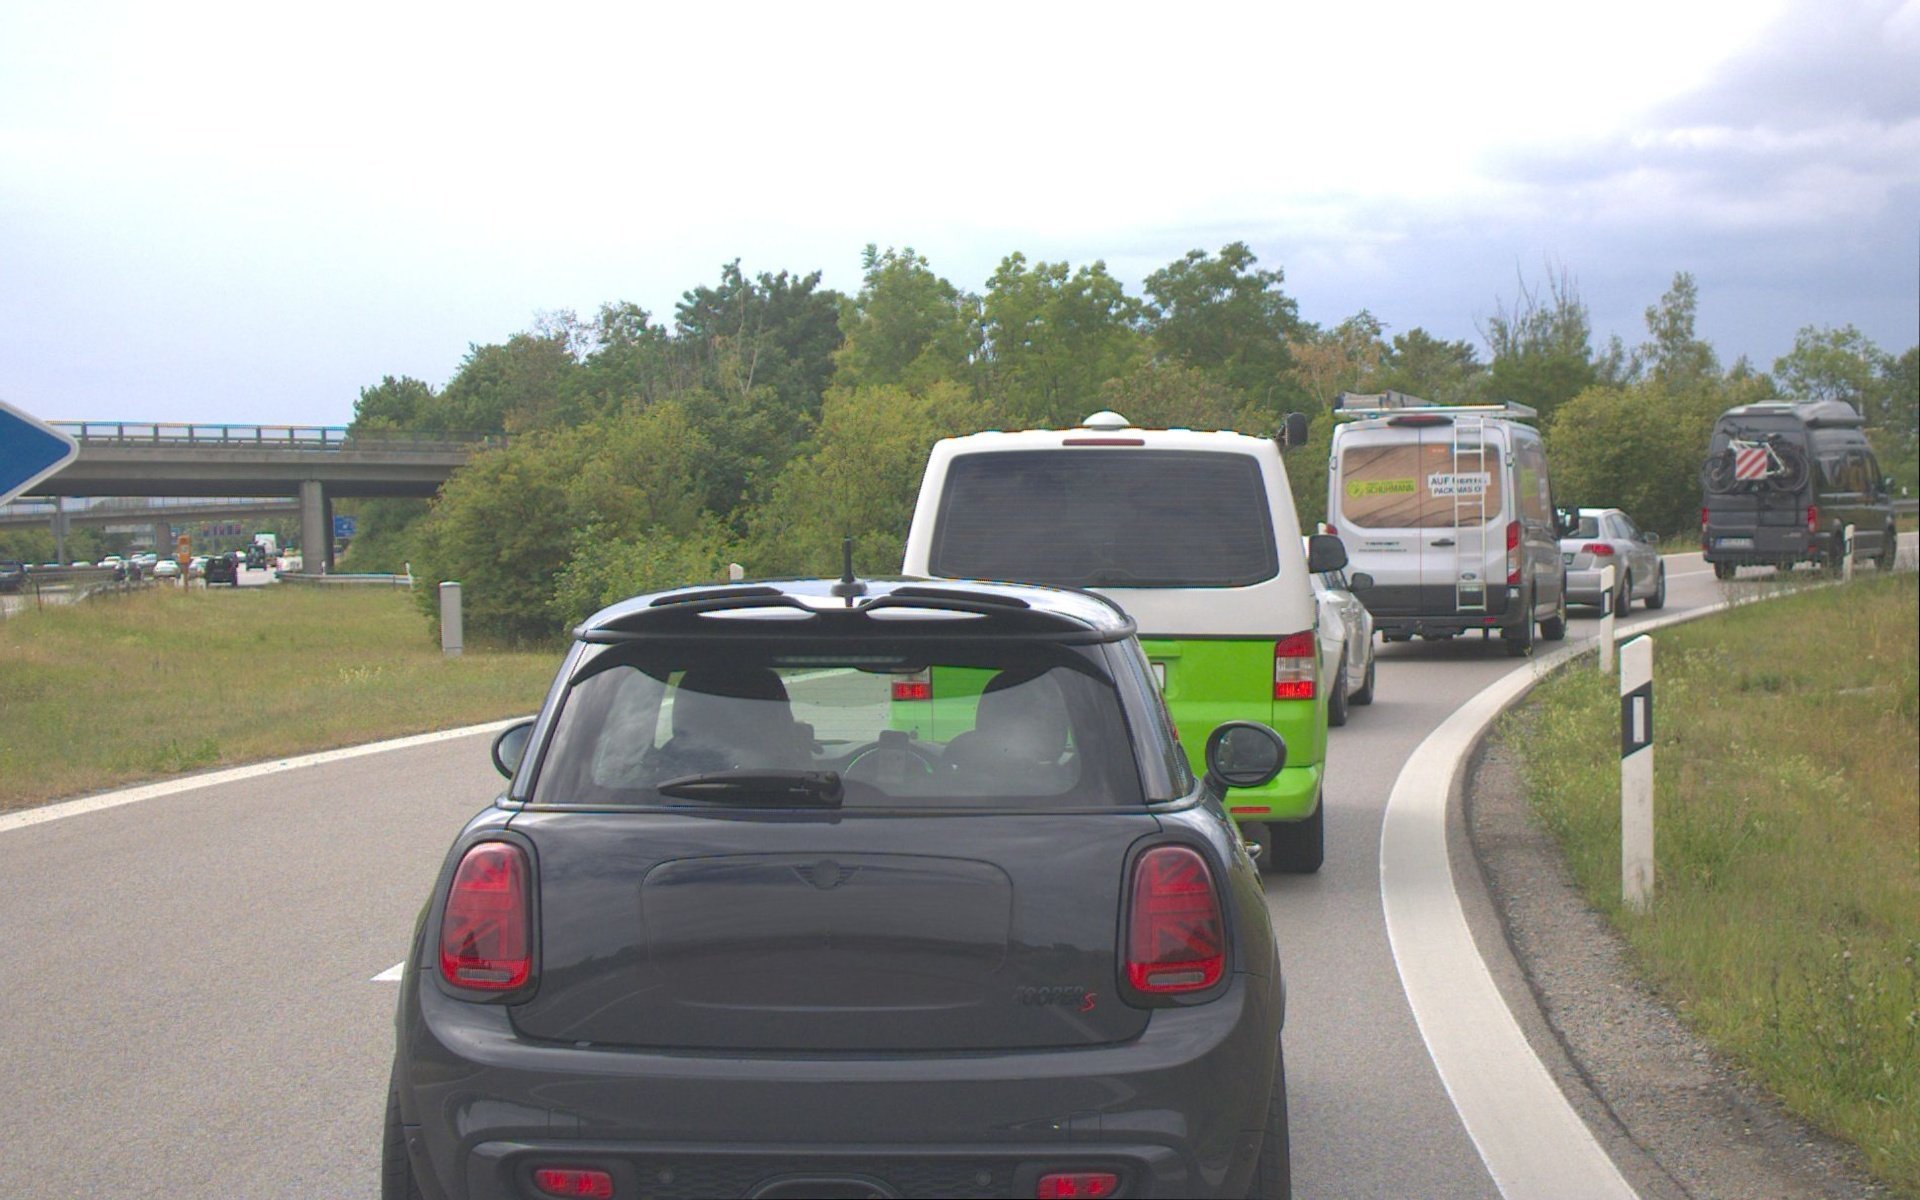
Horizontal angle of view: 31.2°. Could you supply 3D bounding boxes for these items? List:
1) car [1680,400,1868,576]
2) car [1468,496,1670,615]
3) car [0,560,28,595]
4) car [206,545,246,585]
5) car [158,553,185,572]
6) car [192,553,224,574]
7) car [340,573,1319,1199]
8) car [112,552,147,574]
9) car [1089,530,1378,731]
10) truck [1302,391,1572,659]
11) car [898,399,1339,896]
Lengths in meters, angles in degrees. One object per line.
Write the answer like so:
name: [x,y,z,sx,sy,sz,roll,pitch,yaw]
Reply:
car: [13.461,-1.833,56.691,2.108,2.786,3.994,1,1,27]
car: [8.152,-0.604,45.780,1.868,1.504,3.996,0,1,22]
car: [-40.738,-0.947,146.031,1.721,1.419,4.799,-1,1,-10]
car: [-38.344,-1.823,179.738,1.993,2.007,4.001,1,0,-11]
car: [-58.217,-2.782,253.887,1.779,1.394,4.307,-1,1,-11]
car: [-49.976,-2.437,228.561,1.779,1.394,4.552,-1,1,-9]
car: [-0.279,0.658,7.937,1.727,1.409,3.725,0,1,-2]
car: [-53.542,-2.371,221.750,1.779,1.394,4.307,-1,1,-9]
car: [2.130,0.182,25.846,1.763,1.394,3.723,-1,1,11]
truck: [5.188,-0.823,36.769,2.180,2.649,5.105,0,2,15]
car: [0.826,0.153,15.950,1.784,2.007,3.999,0,1,5]
